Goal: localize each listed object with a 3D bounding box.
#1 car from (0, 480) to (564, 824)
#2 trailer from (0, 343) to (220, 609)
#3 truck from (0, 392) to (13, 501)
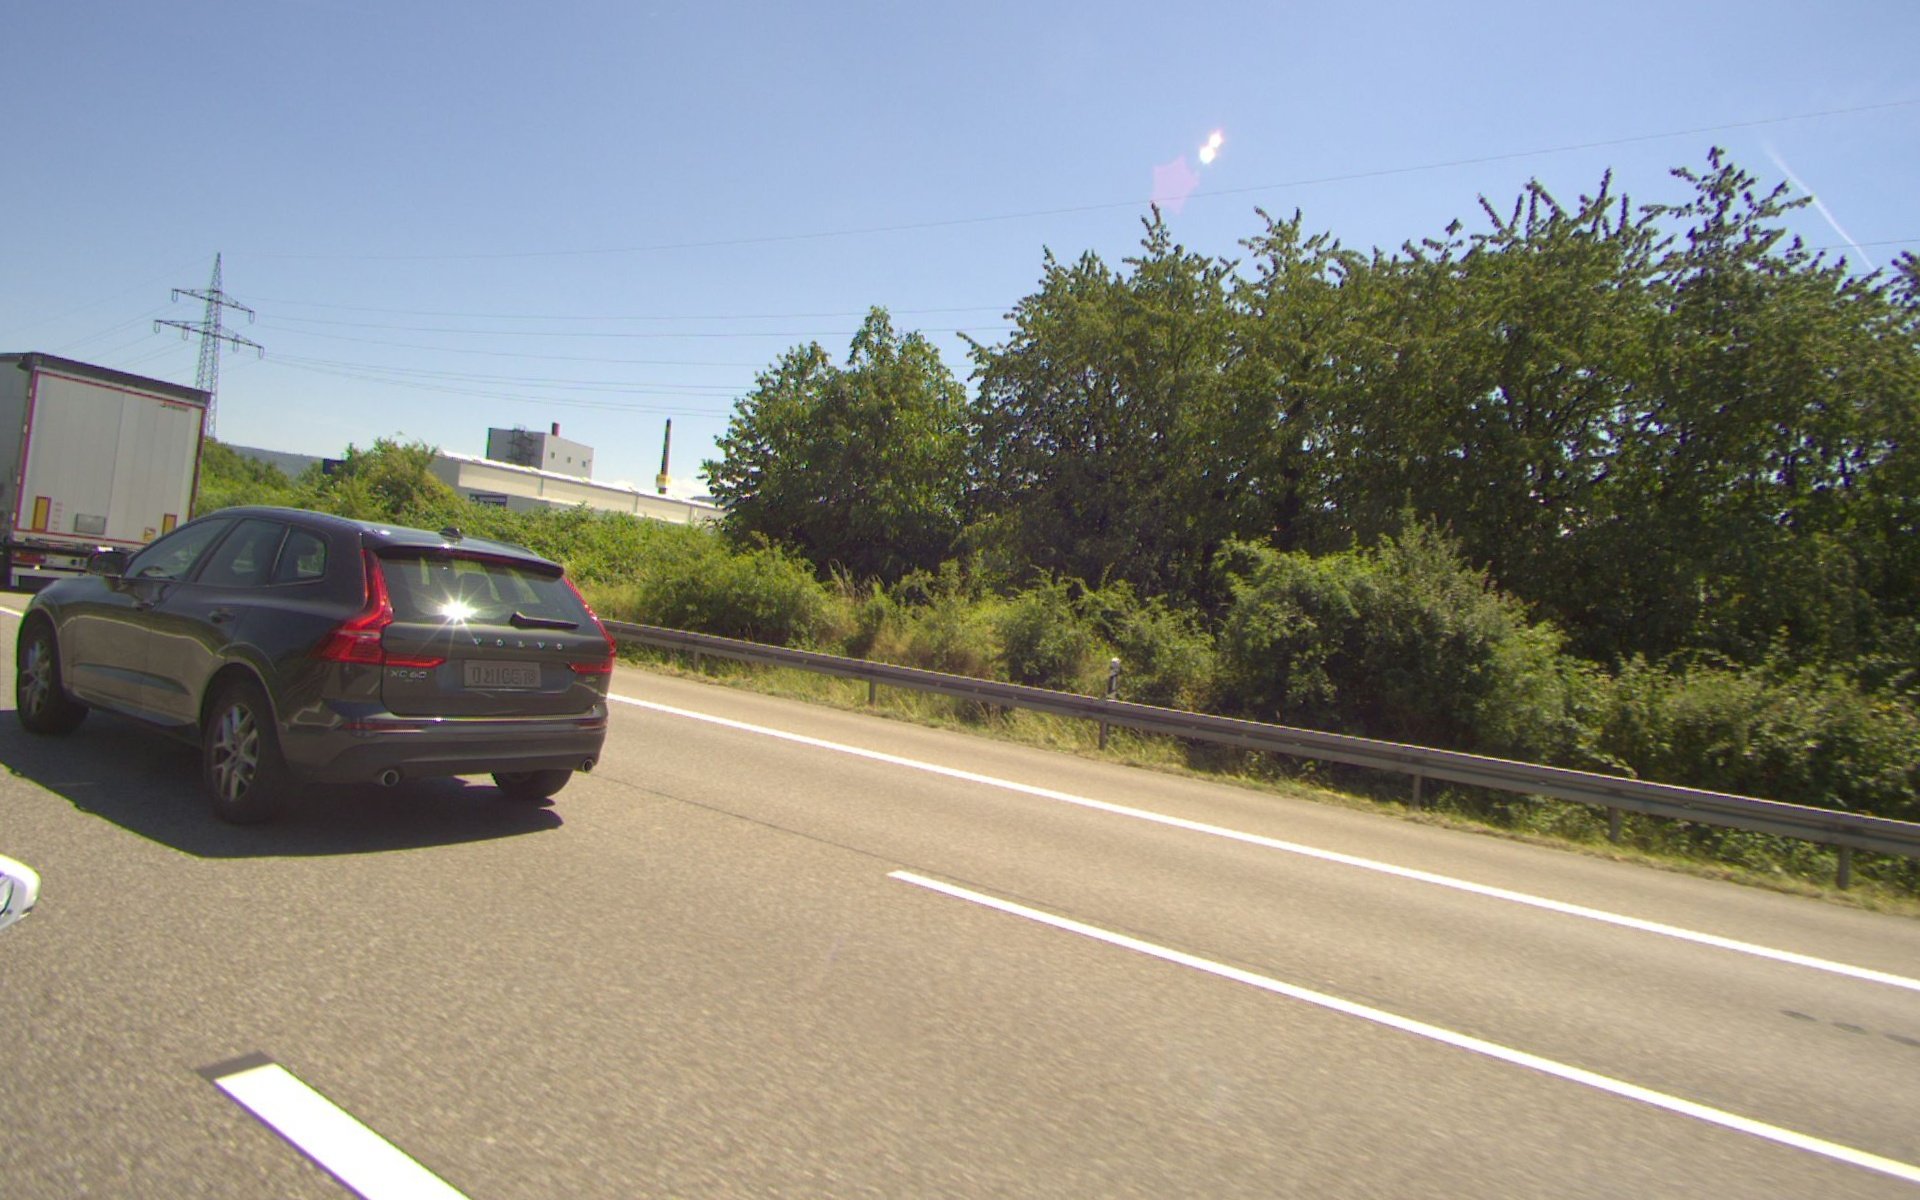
[{"bbox_3d":[-4.897,0.221,6.977,3.937,1.643,1.877,7,-1,31],"label":"car"},{"bbox_3d":[-20.199,-2.618,20.986,12.905,4.155,2.740,6,-1,32],"label":"trailer"},{"bbox_3d":[-26.669,-3.361,25.033,6.023,4.169,2.740,6,-1,32],"label":"truck"}]
